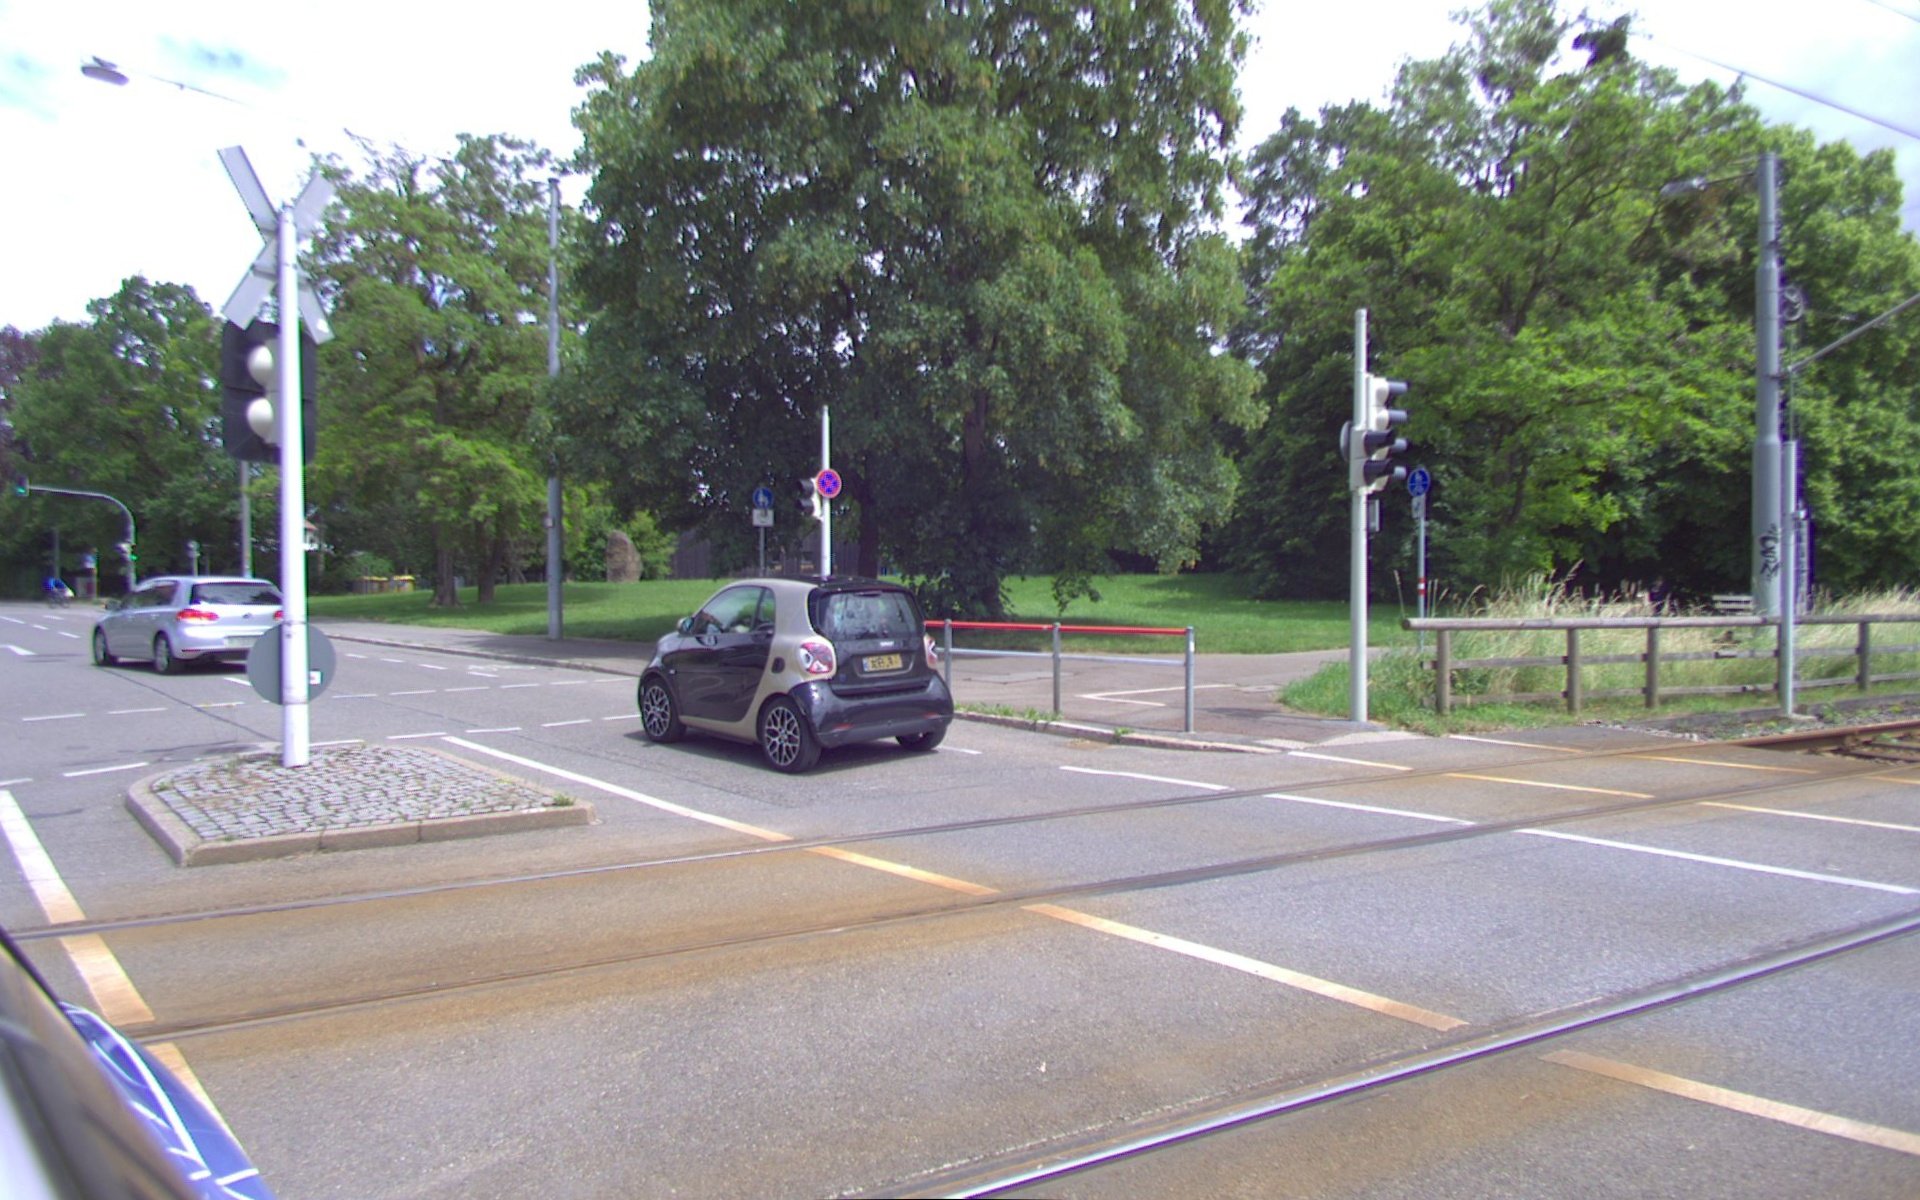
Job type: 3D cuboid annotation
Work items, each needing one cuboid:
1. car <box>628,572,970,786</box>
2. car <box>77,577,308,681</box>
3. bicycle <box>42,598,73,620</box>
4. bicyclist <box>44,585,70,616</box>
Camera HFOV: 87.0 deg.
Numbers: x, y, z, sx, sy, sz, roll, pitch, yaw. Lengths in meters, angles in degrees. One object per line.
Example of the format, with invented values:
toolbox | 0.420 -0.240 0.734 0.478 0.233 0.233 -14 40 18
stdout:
car | -1.458 0.529 8.802 2.788 1.521 1.558 2 3 42
car | -12.290 0.392 16.148 4.057 1.469 1.675 1 0 33
bicycle | -47.936 0.469 53.748 1.796 1.116 0.804 1 3 35
bicyclist | -47.900 0.018 53.682 0.770 1.620 0.798 1 3 35
